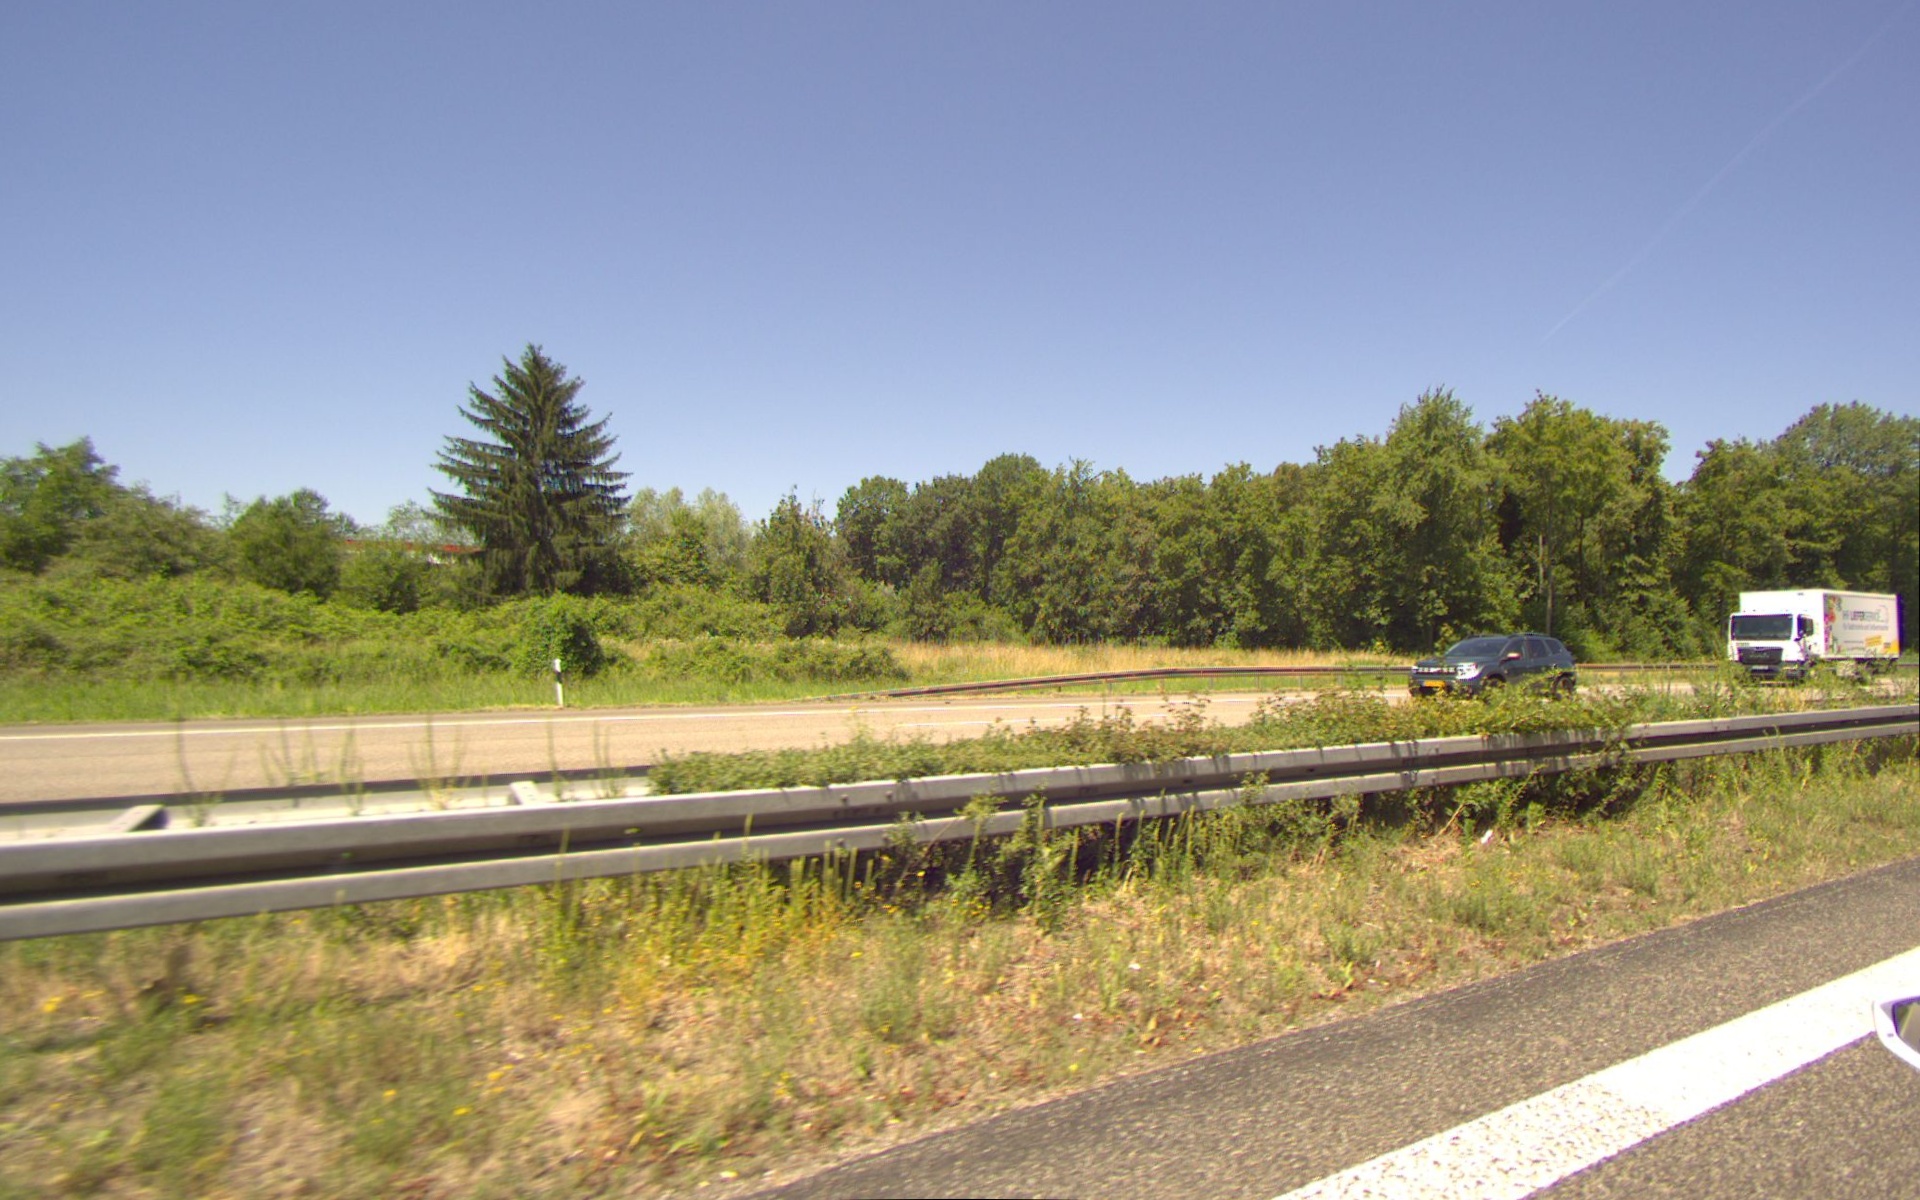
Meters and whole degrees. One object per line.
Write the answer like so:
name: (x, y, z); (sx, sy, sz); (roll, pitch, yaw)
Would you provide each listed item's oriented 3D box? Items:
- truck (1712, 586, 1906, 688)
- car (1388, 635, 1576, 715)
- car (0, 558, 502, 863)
truck: (34.233, 1.505, 40.328); (10.575, 3.680, 2.782); (2, -2, -31)
car: (11.582, 1.598, 22.232); (4.194, 1.552, 1.790); (1, 0, -32)
car: (-5.817, 0.660, 6.712); (4.815, 1.746, 1.913); (2, -2, -31)
